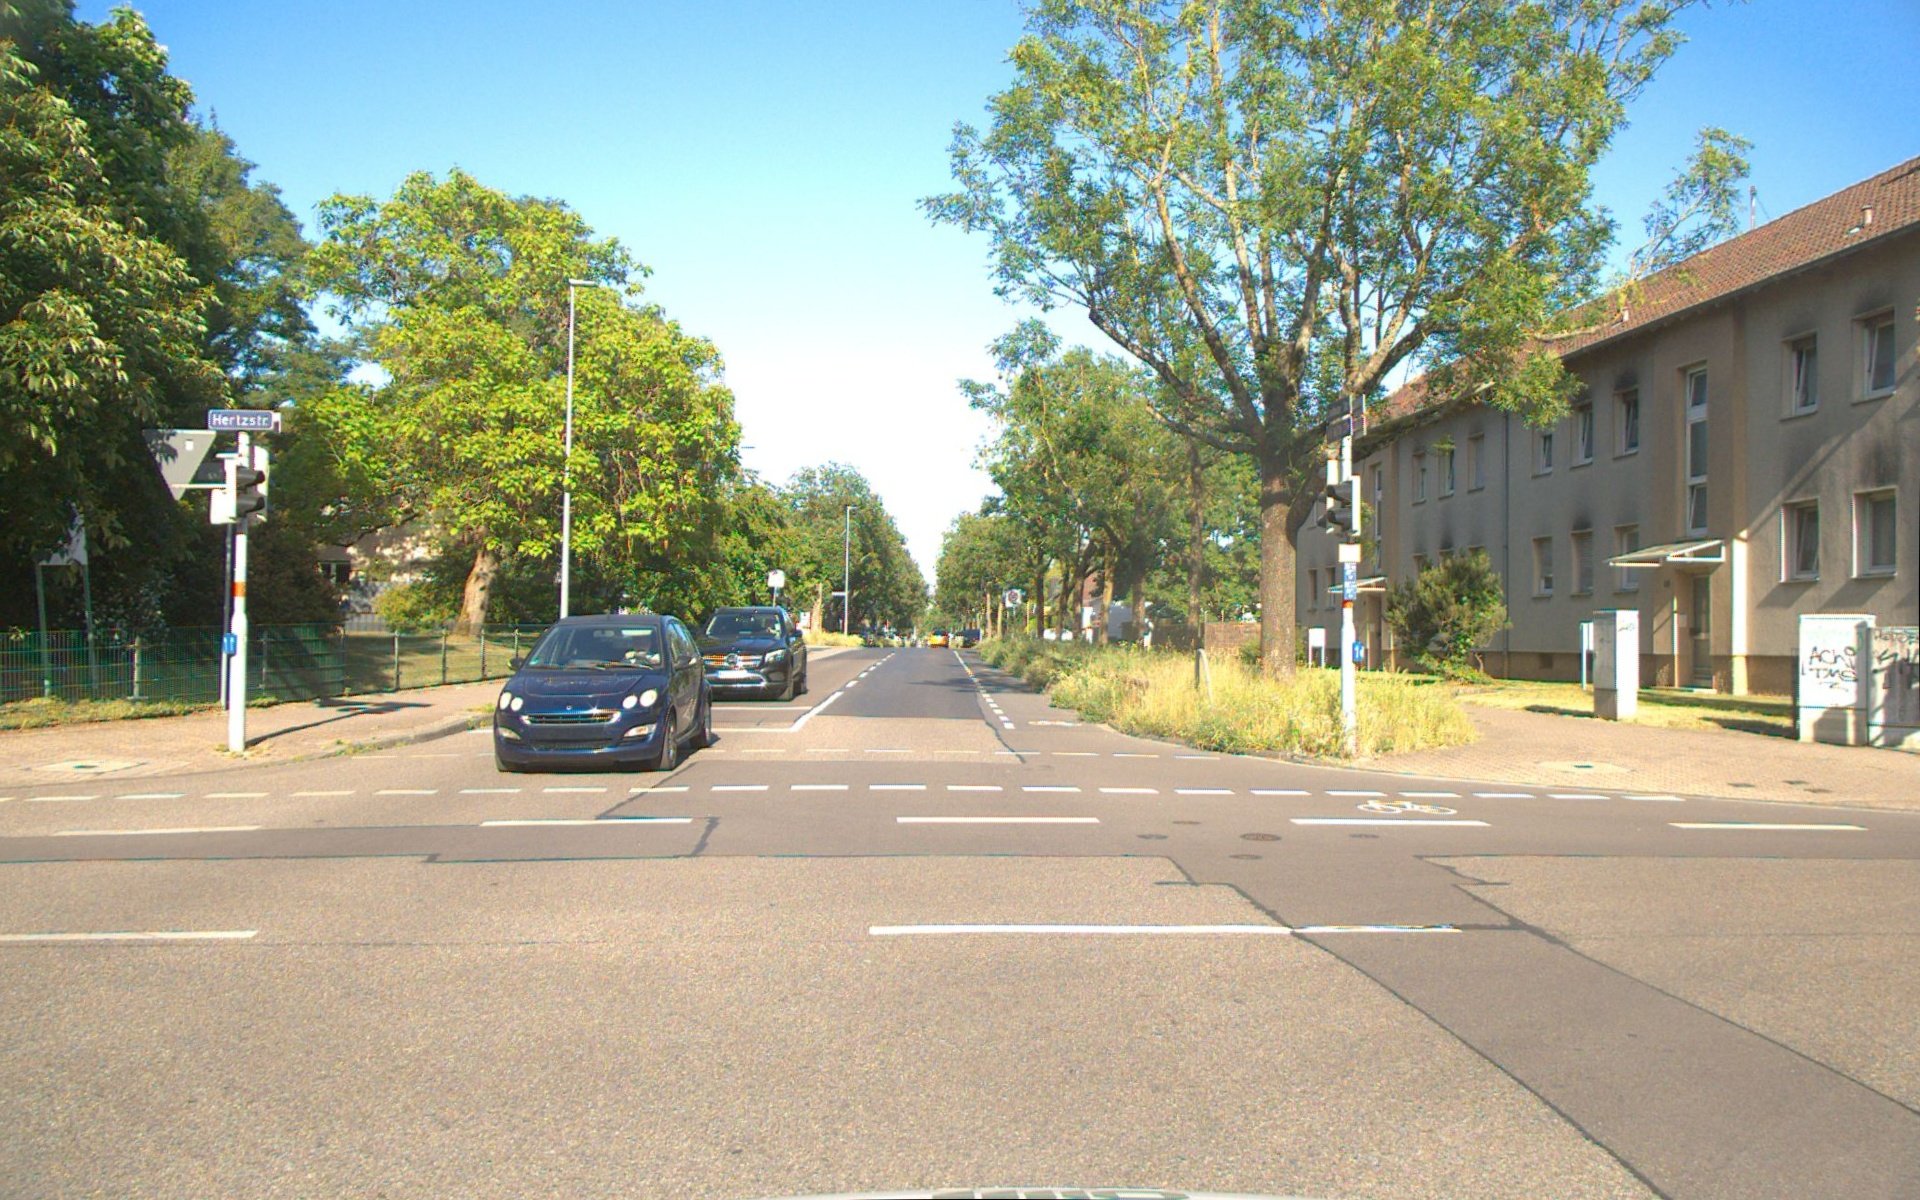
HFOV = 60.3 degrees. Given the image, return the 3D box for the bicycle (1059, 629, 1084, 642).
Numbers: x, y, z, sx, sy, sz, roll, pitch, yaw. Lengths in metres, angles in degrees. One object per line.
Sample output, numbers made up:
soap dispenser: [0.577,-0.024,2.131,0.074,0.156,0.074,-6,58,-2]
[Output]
bicycle: [8.692,2.777,129.152,1.918,1.016,0.576,-1,0,-3]

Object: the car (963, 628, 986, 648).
car: [1.181,3.224,140.337,1.815,1.654,4.467,-1,-2,-1]

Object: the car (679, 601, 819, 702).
car: [-3.697,0.868,29.662,1.777,1.646,4.393,-1,0,2]

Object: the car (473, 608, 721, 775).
car: [-3.545,0.877,16.798,1.769,1.480,3.848,0,-2,-2]

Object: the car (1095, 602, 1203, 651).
car: [10.168,1.448,89.398,5.485,2.584,2.263,1,-1,-5]

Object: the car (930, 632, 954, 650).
car: [-1.599,3.658,146.911,1.851,1.505,3.884,3,-2,-4]

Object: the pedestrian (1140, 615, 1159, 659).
pedestrian: [7.723,1.500,67.410,0.624,1.735,0.612,-2,0,-2]

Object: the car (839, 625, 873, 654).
car: [-6.977,2.683,111.203,1.913,1.757,4.874,2,-2,0]
